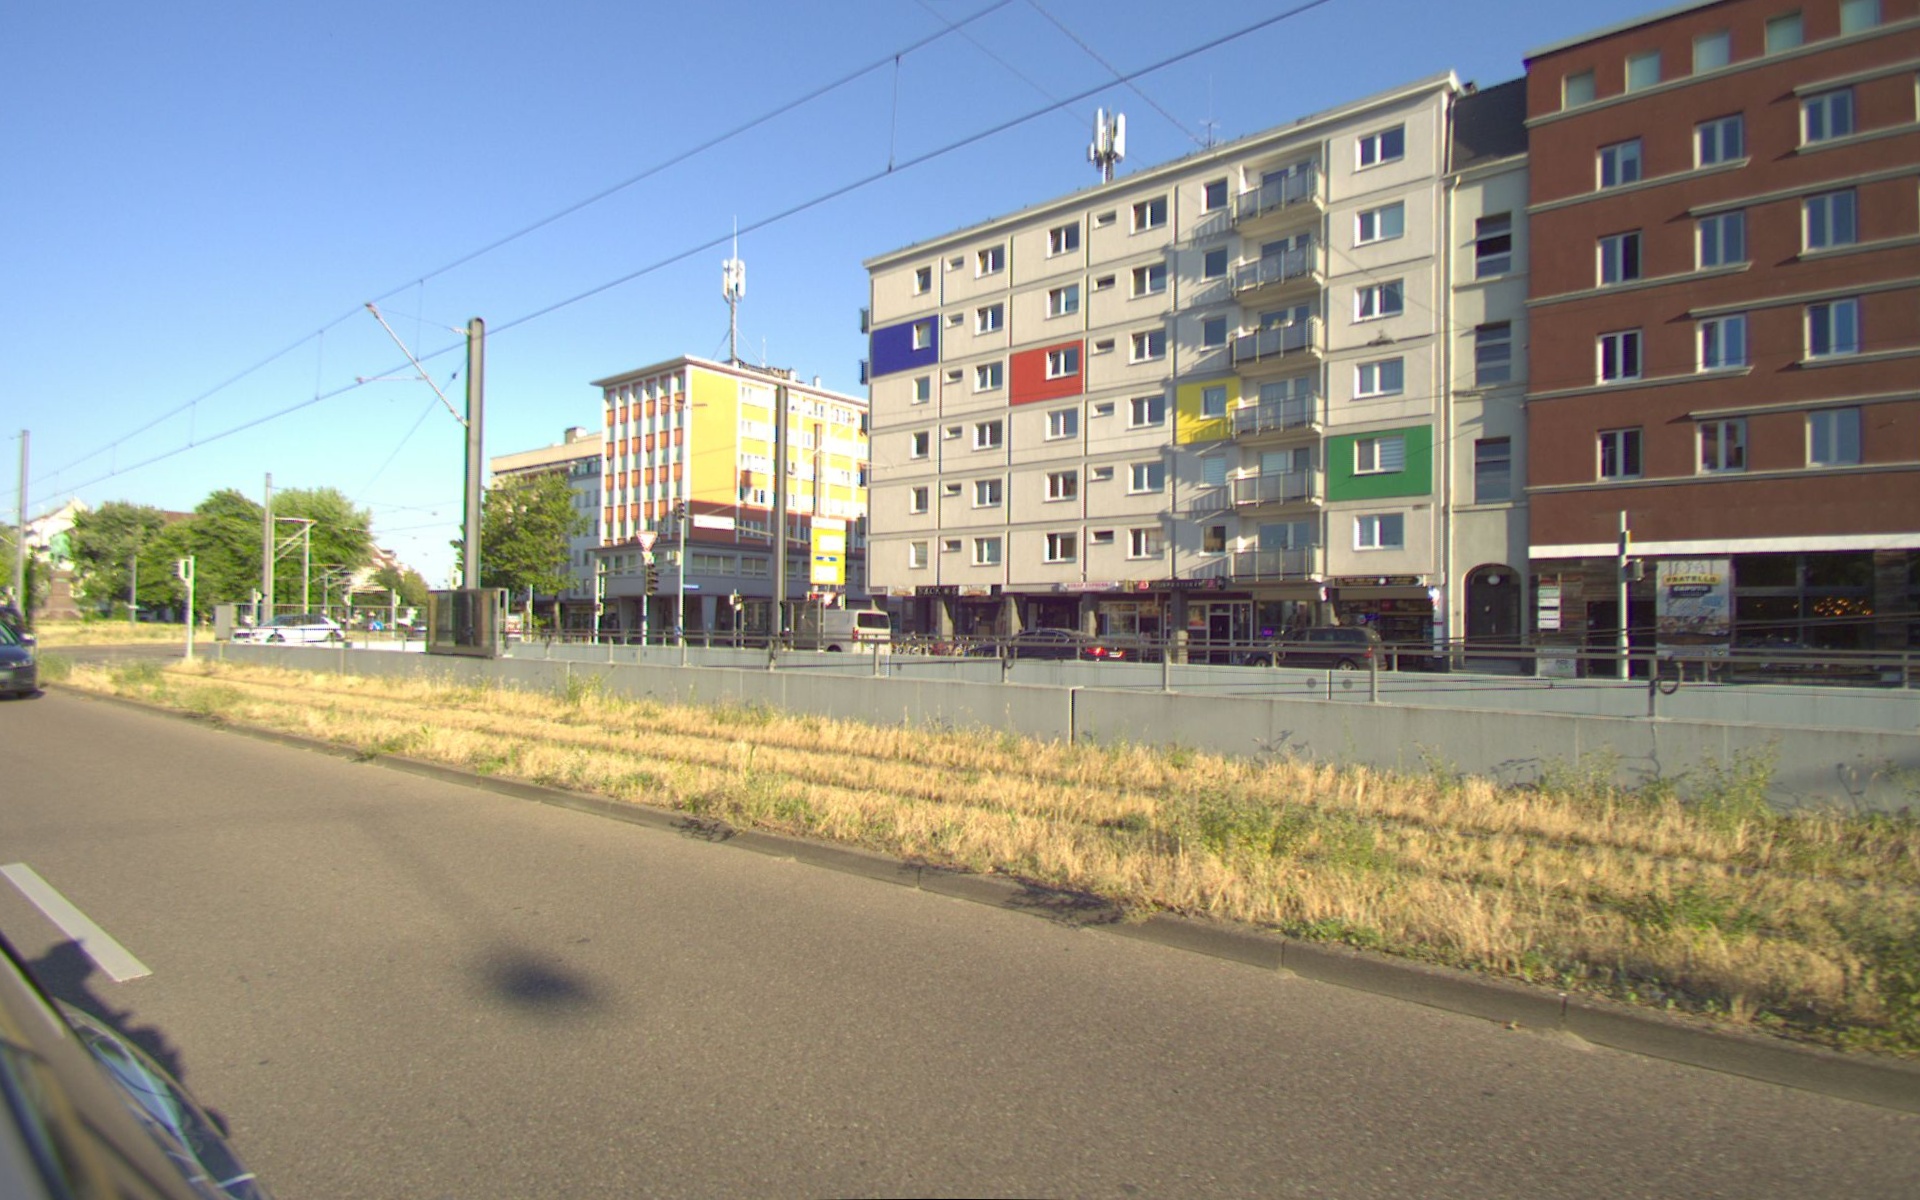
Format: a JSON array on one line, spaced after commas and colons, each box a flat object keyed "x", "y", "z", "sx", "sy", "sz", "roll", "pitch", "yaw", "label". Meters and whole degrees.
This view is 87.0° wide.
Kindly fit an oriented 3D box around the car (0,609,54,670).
[{"x": -28.353, "y": 1.135, "z": 29.179, "sx": 1.740, "sy": 1.746, "sz": 4.160, "roll": 1, "pitch": -2, "yaw": -18, "label": "car"}]

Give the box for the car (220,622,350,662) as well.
[{"x": -27.817, "y": 1.685, "z": 41.862, "sx": 1.820, "sy": 1.549, "sz": 4.253, "roll": 0, "pitch": -1, "yaw": 18, "label": "car"}]

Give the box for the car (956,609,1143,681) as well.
[{"x": 2.376, "y": 1.196, "z": 27.731, "sx": 4.893, "sy": 1.811, "sz": 1.972, "roll": -1, "pitch": -2, "yaw": 41, "label": "car"}]

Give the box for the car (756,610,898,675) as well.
[{"x": -4.485, "y": 1.371, "z": 33.795, "sx": 4.770, "sy": 2.029, "sz": 1.974, "roll": -1, "pitch": -2, "yaw": 39, "label": "car"}]

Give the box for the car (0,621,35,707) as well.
[{"x": -17.954, "y": 1.096, "z": 18.059, "sx": 4.244, "sy": 1.437, "sz": 1.746, "roll": -1, "pitch": -1, "yaw": 42, "label": "car"}]

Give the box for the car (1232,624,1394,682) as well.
[{"x": 11.785, "y": 1.733, "z": 33.991, "sx": 4.740, "sy": 1.811, "sz": 1.973, "roll": -1, "pitch": -2, "yaw": 41, "label": "car"}]

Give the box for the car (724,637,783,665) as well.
[{"x": -14.768, "y": 3.629, "z": 72.651, "sx": 1.741, "sy": 1.794, "sz": 3.947, "roll": 0, "pitch": 0, "yaw": 40, "label": "car"}]
